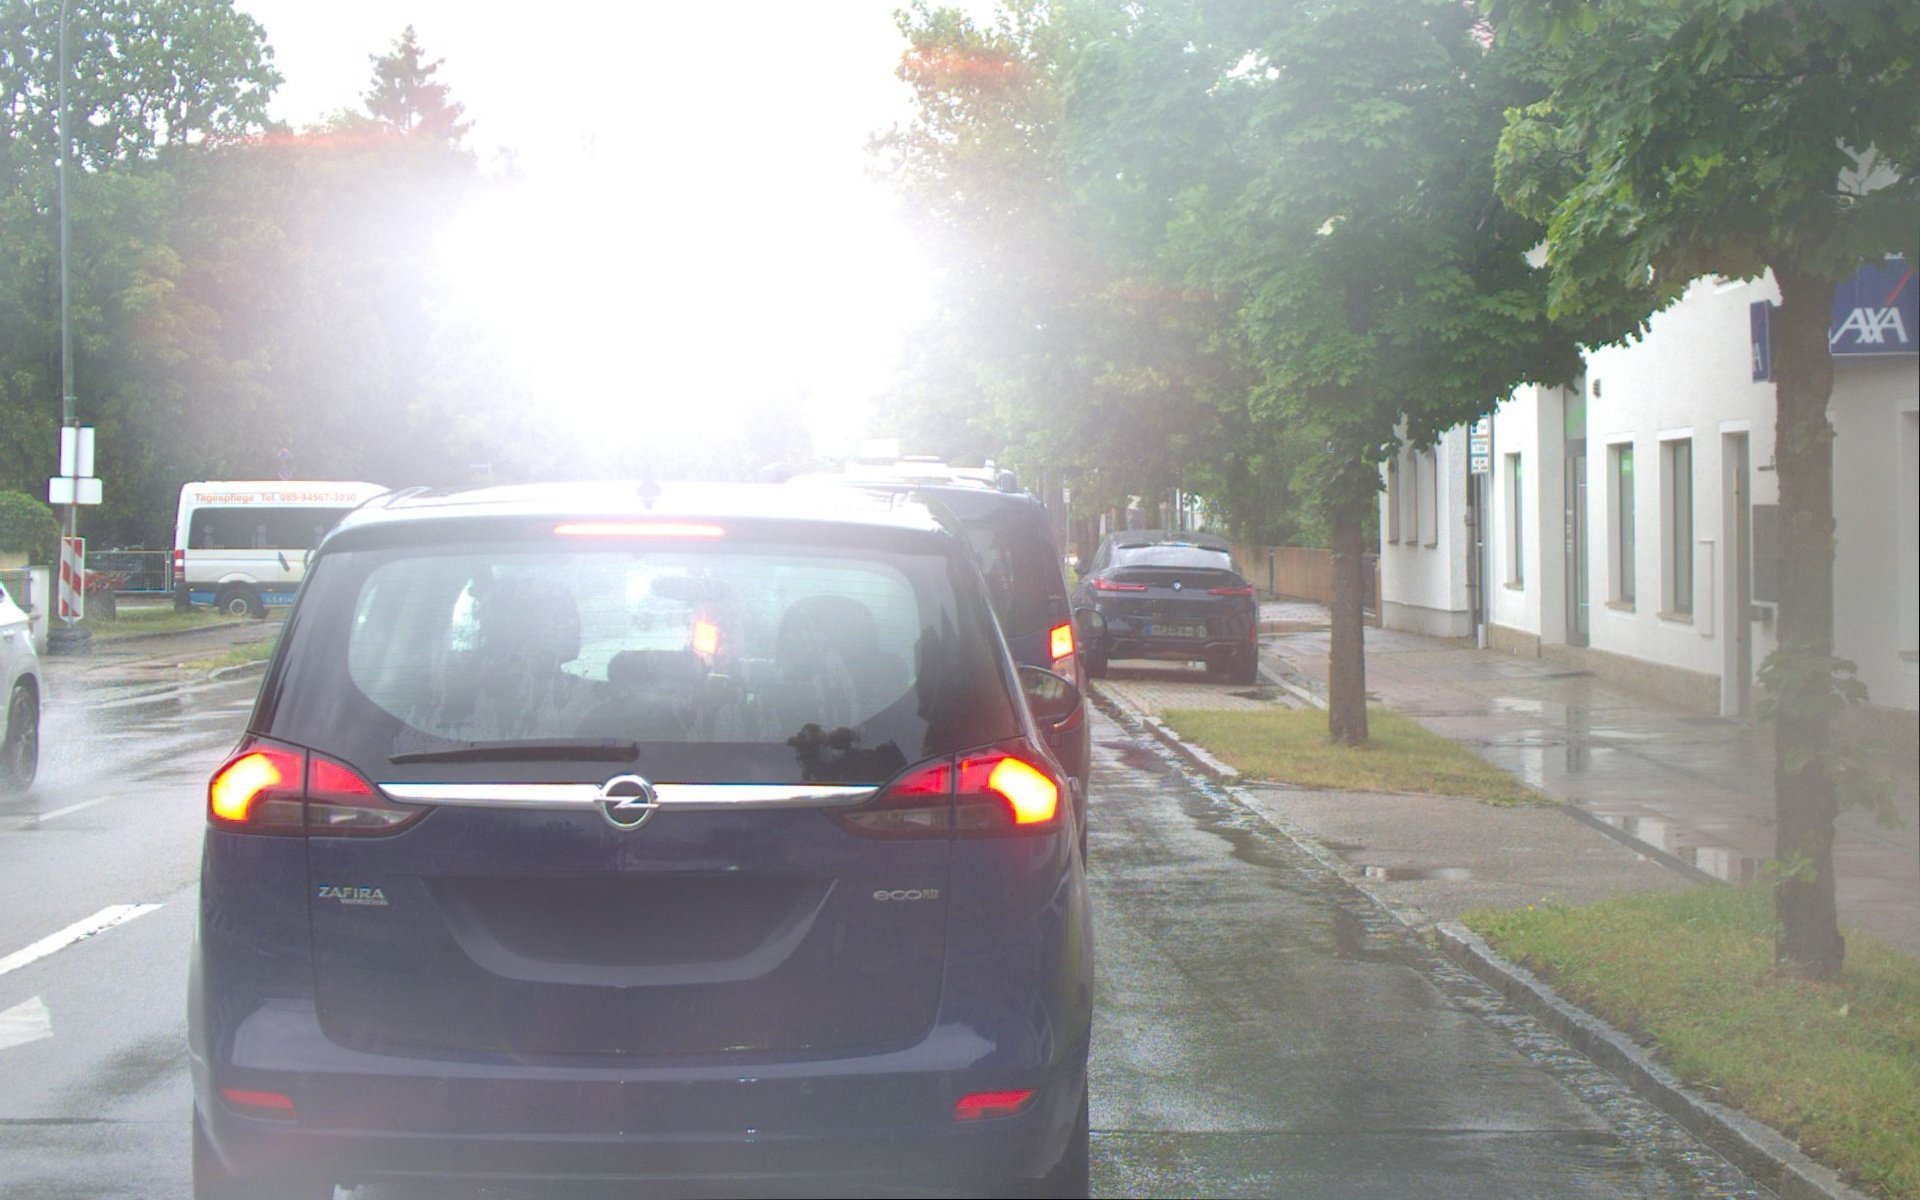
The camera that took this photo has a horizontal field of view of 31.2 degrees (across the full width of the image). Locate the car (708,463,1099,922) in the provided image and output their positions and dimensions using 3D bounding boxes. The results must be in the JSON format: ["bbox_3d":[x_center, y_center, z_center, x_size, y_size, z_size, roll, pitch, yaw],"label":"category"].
[{"bbox_3d":[-0.237,0.334,15.037,1.500,1.770,3.112,1,1,-1],"label":"car"}]

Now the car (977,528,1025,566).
[{"bbox_3d":[1.505,-1.944,126.914,1.630,1.373,3.623,1,0,-1],"label":"car"}]

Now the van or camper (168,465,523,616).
[{"bbox_3d":[-11.278,-1.099,63.468,6.247,2.698,2.101,0,1,-4],"label":"van or camper"}]

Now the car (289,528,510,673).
[{"bbox_3d":[-6.393,-0.038,39.602,1.926,1.561,4.126,-1,1,-1],"label":"car"}]

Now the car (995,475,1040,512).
[{"bbox_3d":[2.275,-4.217,136.258,1.630,1.373,3.623,-1,1,-1],"label":"car"}]

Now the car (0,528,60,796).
[{"bbox_3d":[-6.573,0.393,19.283,1.967,1.557,4.152,-1,1,-1],"label":"car"}]

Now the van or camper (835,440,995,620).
[{"bbox_3d":[-0.701,-1.090,53.830,2.360,2.656,5.372,-1,1,-1],"label":"van or camper"}]

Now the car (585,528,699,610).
[{"bbox_3d":[-6.135,-0.625,66.697,1.752,1.506,4.230,-2,1,0],"label":"car"}]

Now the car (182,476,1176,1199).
[{"bbox_3d":[-0.526,0.551,8.000,1.768,1.599,3.663,1,1,-1],"label":"car"}]

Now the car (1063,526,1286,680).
[{"bbox_3d":[2.324,0.006,38.192,2.117,1.575,3.936,1,1,-1],"label":"car"}]
